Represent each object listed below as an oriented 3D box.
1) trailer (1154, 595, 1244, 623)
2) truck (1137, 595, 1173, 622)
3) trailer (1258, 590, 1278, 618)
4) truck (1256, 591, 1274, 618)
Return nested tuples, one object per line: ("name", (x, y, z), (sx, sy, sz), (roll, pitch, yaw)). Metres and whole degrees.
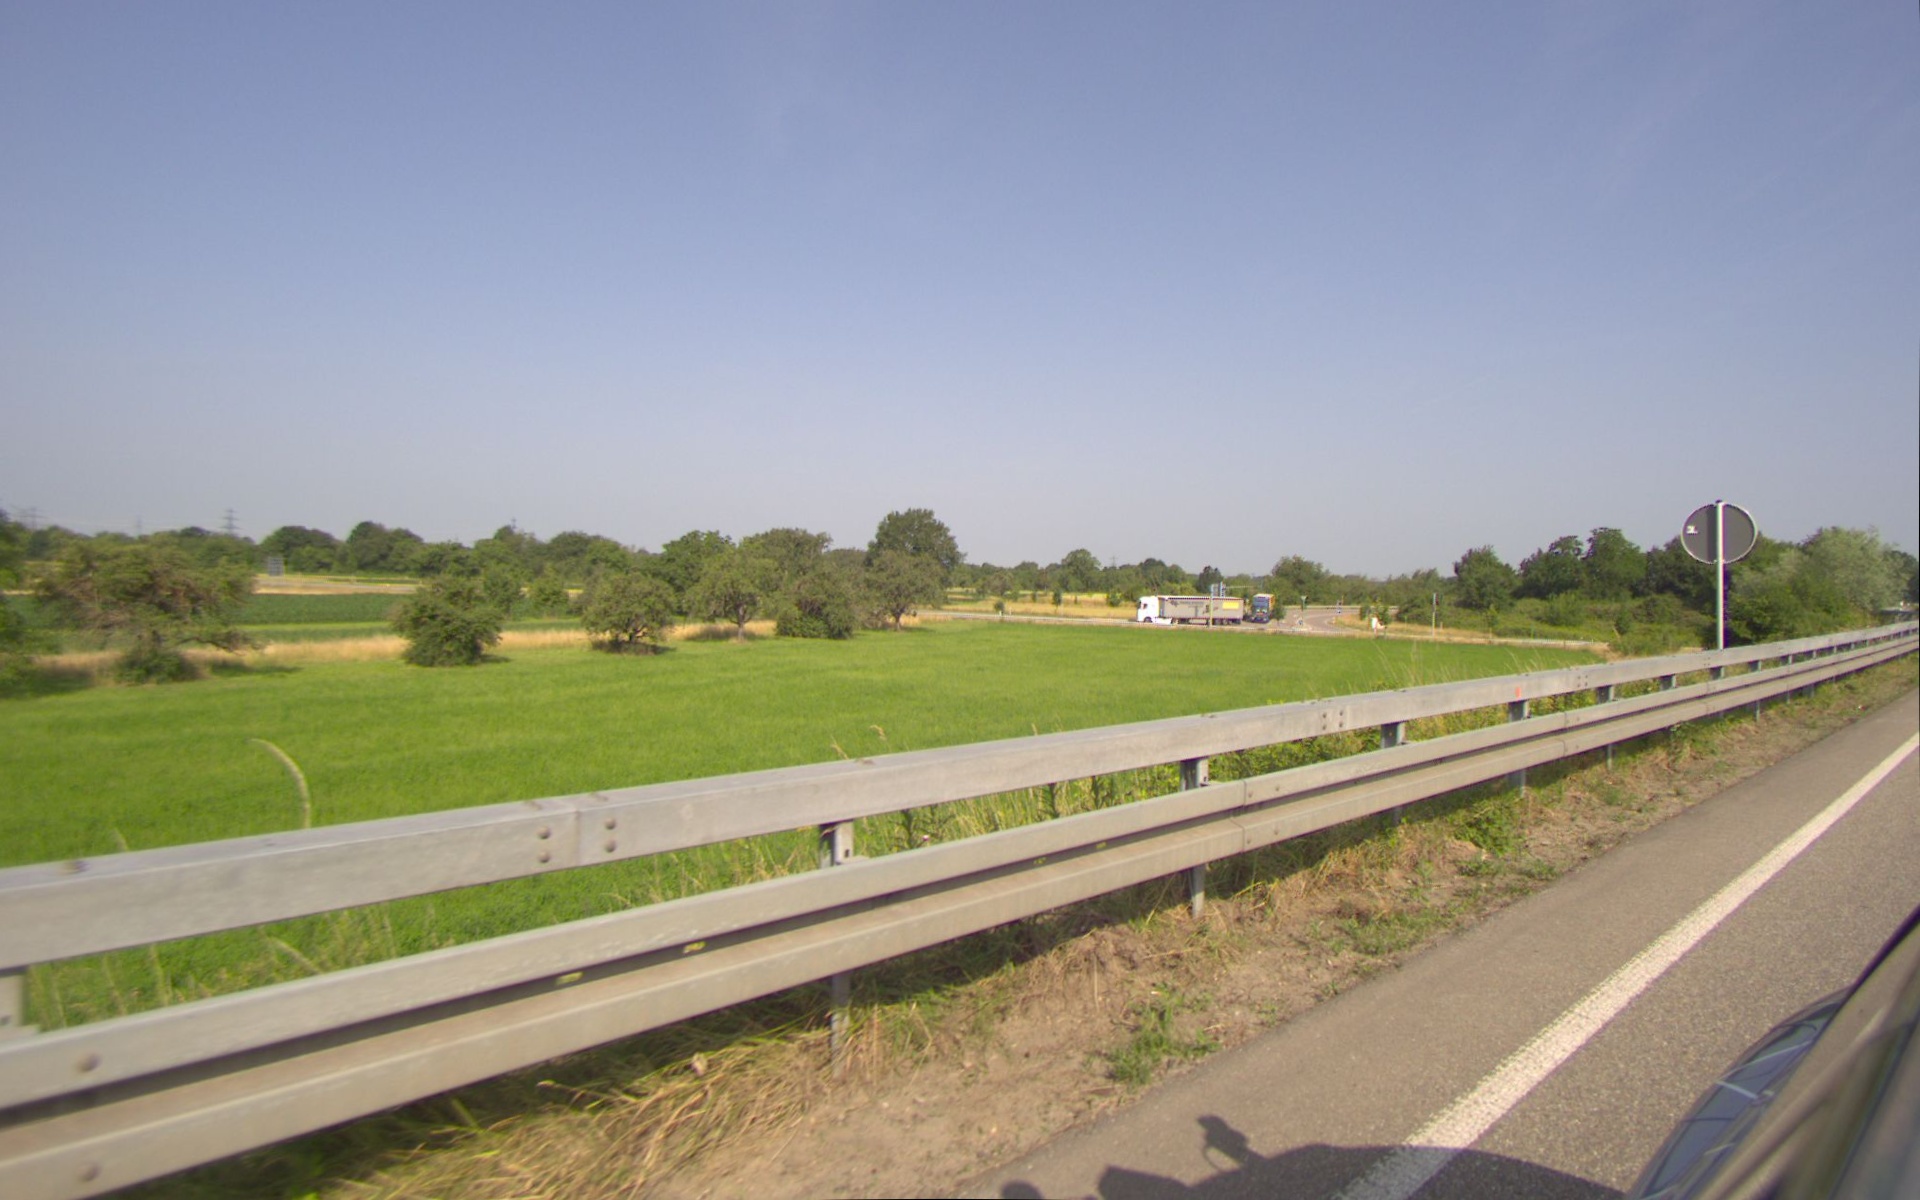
("trailer", (34.853, 1.342, 147.320), (13.636, 3.699, 2.113), (1, 0, -20))
("truck", (28.087, 1.205, 145.697), (4.868, 3.724, 2.100), (1, 0, 13))
("trailer", (49.919, 0.606, 163.860), (2.234, 4.221, 14.328), (2, 1, 20))
("truck", (47.527, 0.670, 157.513), (2.236, 4.222, 4.338), (2, 1, 23))
